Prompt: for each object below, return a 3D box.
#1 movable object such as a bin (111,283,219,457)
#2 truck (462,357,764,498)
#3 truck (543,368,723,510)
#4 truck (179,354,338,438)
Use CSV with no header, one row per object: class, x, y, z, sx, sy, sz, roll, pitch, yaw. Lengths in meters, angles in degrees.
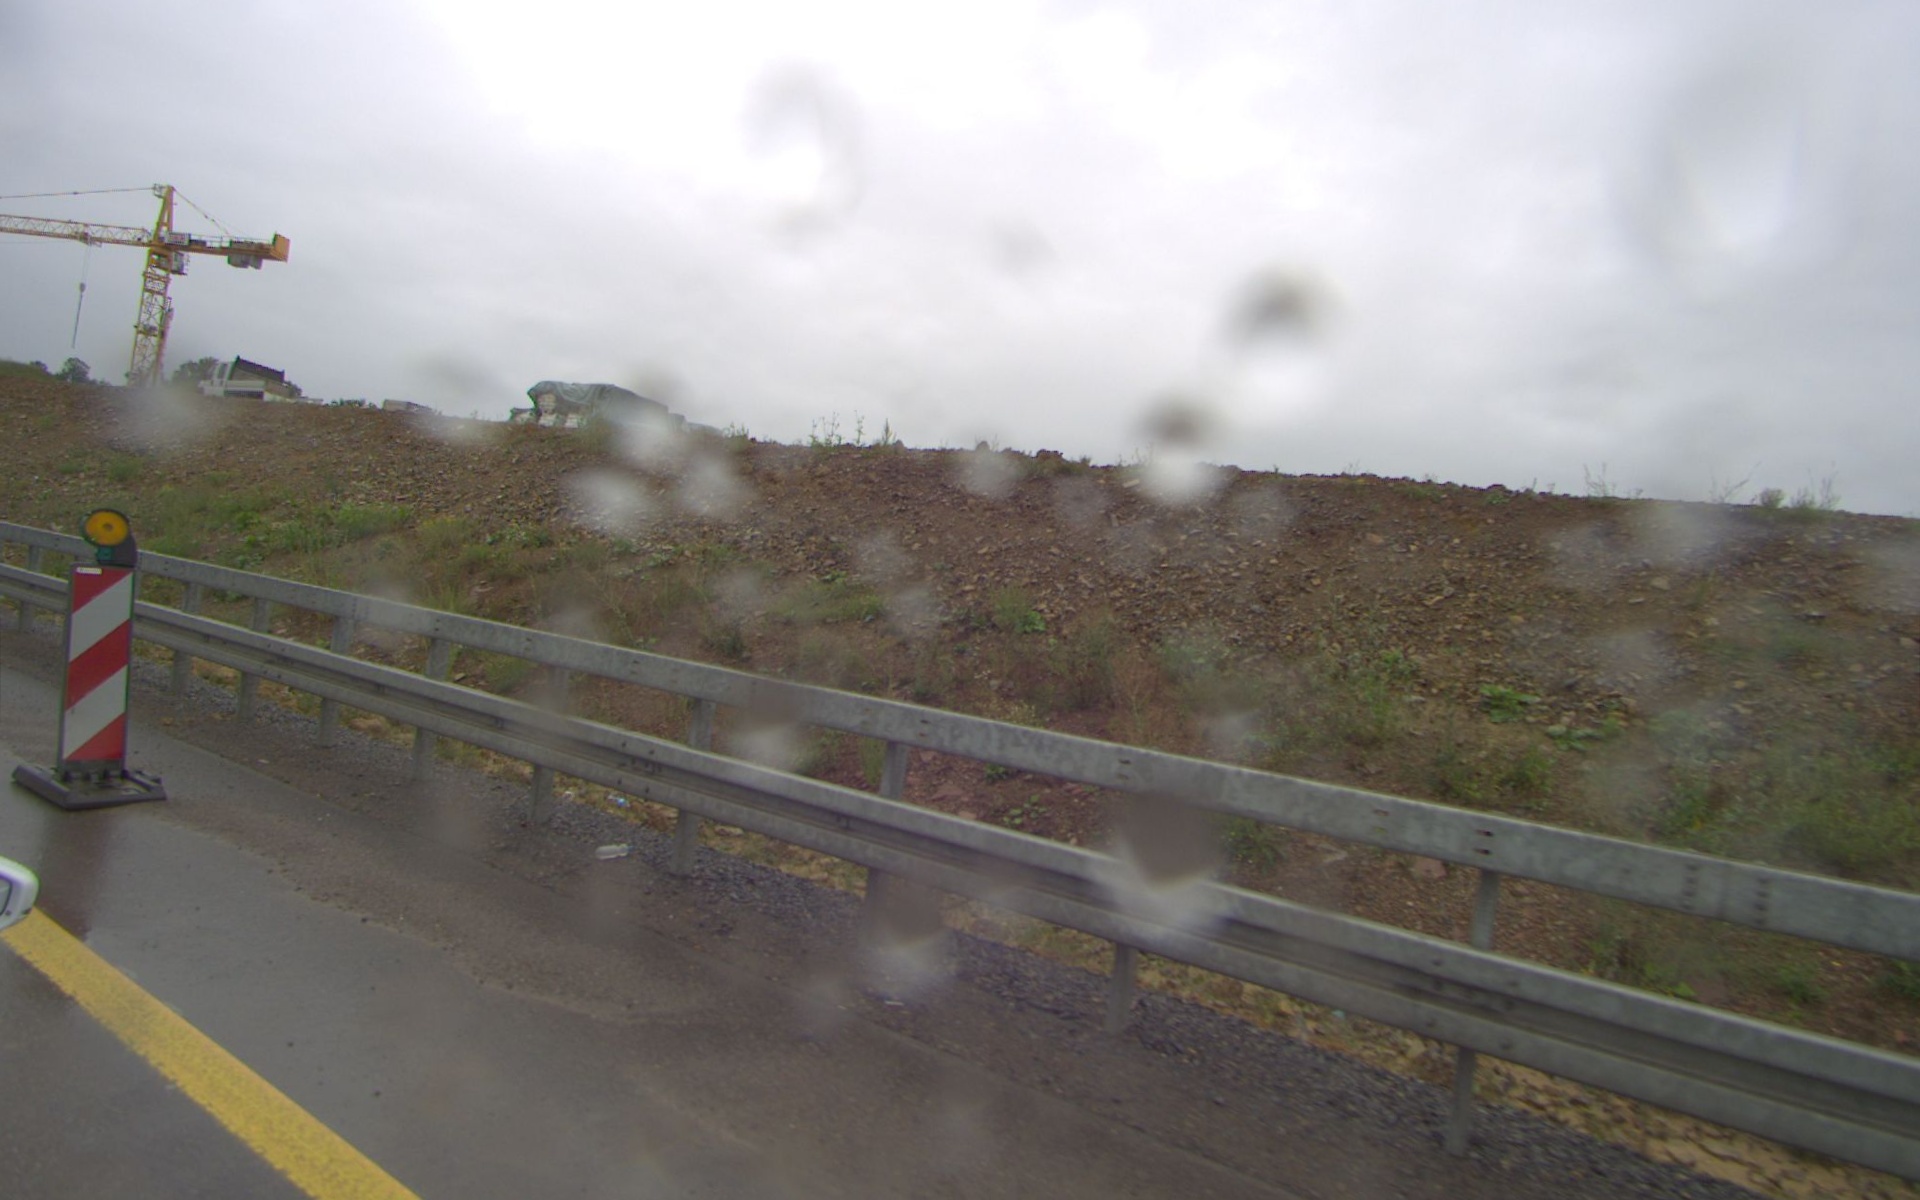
movable object such as a bin,-60.591,-17.026,76.560,4.704,10.971,10.180,7,-1,-43
truck,-10.129,-4.791,28.888,8.817,2.909,3.399,6,-2,34
truck,-11.535,-5.587,35.307,5.881,4.268,2.377,6,-1,32
truck,-28.733,-8.222,41.132,6.869,2.585,2.650,6,-1,32
